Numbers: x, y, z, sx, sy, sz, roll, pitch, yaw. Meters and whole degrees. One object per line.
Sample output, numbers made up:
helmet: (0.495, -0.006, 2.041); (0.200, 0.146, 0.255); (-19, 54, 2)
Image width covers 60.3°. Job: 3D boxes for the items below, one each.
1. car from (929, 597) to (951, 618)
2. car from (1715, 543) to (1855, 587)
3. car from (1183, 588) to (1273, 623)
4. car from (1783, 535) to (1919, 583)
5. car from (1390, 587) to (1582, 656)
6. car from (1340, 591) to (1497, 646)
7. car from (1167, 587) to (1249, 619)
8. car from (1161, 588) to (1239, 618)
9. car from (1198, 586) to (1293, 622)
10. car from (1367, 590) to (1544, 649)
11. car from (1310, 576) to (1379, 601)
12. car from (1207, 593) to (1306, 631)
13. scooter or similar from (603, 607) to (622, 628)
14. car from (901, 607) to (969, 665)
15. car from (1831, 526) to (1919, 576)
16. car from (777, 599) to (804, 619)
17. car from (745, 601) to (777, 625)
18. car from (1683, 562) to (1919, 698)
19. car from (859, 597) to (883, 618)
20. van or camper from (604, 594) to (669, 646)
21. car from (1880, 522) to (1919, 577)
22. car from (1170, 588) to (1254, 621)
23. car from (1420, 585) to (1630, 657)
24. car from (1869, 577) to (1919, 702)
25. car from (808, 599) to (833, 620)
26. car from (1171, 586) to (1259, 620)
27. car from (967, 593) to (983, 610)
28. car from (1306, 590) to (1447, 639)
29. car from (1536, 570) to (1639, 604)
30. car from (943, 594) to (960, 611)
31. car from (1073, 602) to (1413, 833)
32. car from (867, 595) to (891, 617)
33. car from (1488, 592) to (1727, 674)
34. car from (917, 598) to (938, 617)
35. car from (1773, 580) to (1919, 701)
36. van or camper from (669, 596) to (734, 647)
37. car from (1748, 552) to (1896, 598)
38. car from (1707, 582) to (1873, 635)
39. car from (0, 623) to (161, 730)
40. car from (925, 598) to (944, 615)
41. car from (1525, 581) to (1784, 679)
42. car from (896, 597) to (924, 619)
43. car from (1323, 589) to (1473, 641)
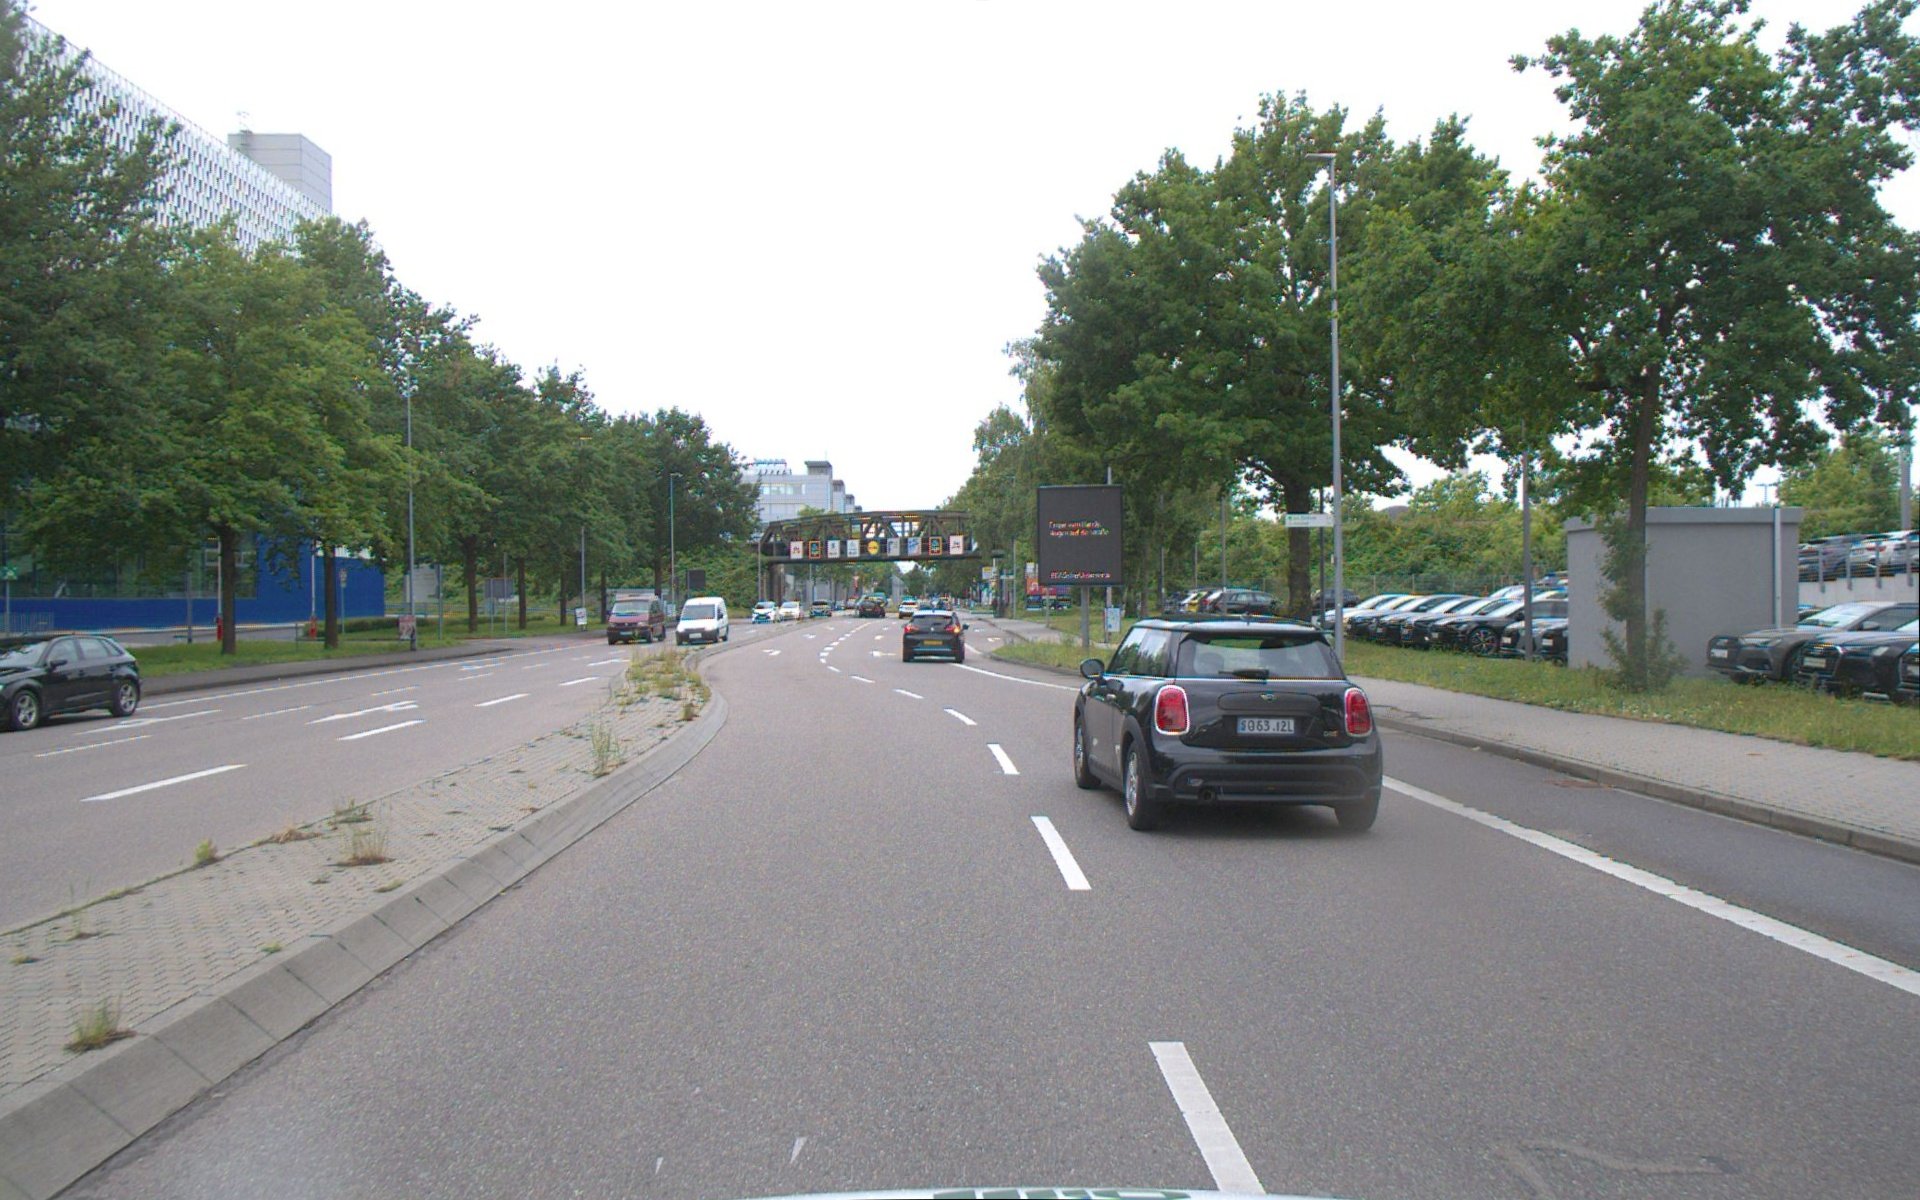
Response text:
car: (-1.806, 0.649, 148.713); (1.845, 1.690, 3.783); (0, 2, 1)
car: (28.569, -1.219, 57.333); (4.003, 1.460, 1.730); (0, 2, -2)
car: (11.988, 0.247, 74.169); (3.902, 1.460, 1.732); (1, 2, 5)
car: (28.475, -1.295, 52.238); (4.003, 1.460, 1.946); (0, 2, -2)
car: (13.495, 0.541, 42.598); (4.256, 1.529, 1.929); (3, 0, -2)
car: (13.148, 0.522, 47.577); (4.003, 1.460, 1.822); (0, 2, -2)
car: (12.222, 0.149, 81.570); (3.902, 1.460, 1.732); (1, 2, 5)
car: (12.434, 0.144, 85.788); (3.902, 1.460, 1.732); (1, 2, 5)
car: (12.248, 0.159, 71.154); (3.902, 1.460, 1.732); (1, 2, 5)
car: (13.426, 0.514, 44.964); (4.255, 1.514, 1.843); (1, 0, -2)
car: (23.625, -0.696, 101.759); (3.902, 1.460, 1.732); (1, 2, 5)
car: (12.292, 0.478, 68.681); (3.902, 1.460, 1.732); (1, 2, 5)
scooter or similar: (-20.556, 1.038, 97.872); (0.747, 1.108, 2.006); (0, 2, -2)
car: (-0.662, 0.980, 46.960); (1.720, 1.459, 4.001); (-1, 1, 2)
car: (28.625, -1.467, 49.696); (4.003, 1.460, 1.730); (0, 2, -2)
car: (-13.304, 0.706, 130.269); (1.684, 1.395, 3.441); (0, 2, 1)
car: (-13.774, 0.887, 114.524); (1.718, 1.471, 3.340); (0, 2, 1)
car: (13.768, 0.511, 25.266); (4.458, 1.731, 2.000); (5, 2, 0)
car: (-7.811, 0.669, 145.255); (1.845, 1.690, 3.783); (0, 2, 1)
van or camper: (-13.621, 0.793, 69.797); (1.837, 2.021, 4.888); (-2, 1, -1)
car: (28.651, -1.425, 47.056); (4.003, 1.522, 1.730); (0, 2, -2)
car: (12.103, 0.199, 79.700); (3.902, 1.460, 1.732); (1, 2, 5)
car: (13.592, 0.481, 39.953); (4.355, 1.599, 1.999); (-1, 0, -2)
car: (13.831, 0.658, 20.255); (4.207, 1.530, 2.029); (5, 0, 0)
car: (-12.700, 0.854, 150.956); (1.900, 1.705, 3.783); (0, 2, 1)
car: (11.775, 0.130, 76.520); (3.902, 1.460, 1.732); (1, 2, 5)
car: (1.808, 0.141, 197.885); (1.910, 1.847, 4.001); (0, 2, 1)
car: (13.136, 0.442, 52.302); (4.003, 1.460, 1.730); (0, 2, -2)
car: (28.321, -0.596, 74.722); (4.003, 1.460, 1.730); (0, 2, -2)
car: (-0.995, 0.332, 193.247); (1.910, 1.847, 4.001); (0, 2, 1)
car: (1.921, 0.774, 12.294); (1.750, 1.440, 3.641); (1, -1, -3)
car: (-7.391, 0.576, 152.097); (1.910, 1.847, 4.001); (0, 2, 1)
car: (13.549, 0.675, 34.799); (4.206, 1.417, 2.000); (4, 0, 0)
car: (-3.346, 0.739, 169.990); (1.910, 1.847, 4.001); (0, 2, 1)
car: (13.724, 0.667, 22.664); (4.091, 1.470, 1.960); (5, 2, 0)
van or camper: (-10.089, 0.802, 64.805); (1.719, 1.777, 4.407); (-4, 1, 1)
car: (28.361, -0.835, 54.496); (4.003, 1.460, 1.730); (0, 2, -2)
car: (24.203, 0.229, 48.297); (4.003, 1.460, 1.730); (0, 2, -2)
car: (-14.915, 1.204, 26.420); (1.877, 1.528, 4.254); (-3, -1, 5)
car: (-2.759, 0.668, 180.564); (1.845, 1.690, 3.783); (0, 2, 1)
car: (13.517, 0.575, 32.374); (4.173, 1.592, 2.000); (4, 0, 0)
car: (-4.220, 0.684, 140.258); (2.091, 1.690, 3.783); (0, 2, 1)
car: (13.197, 0.433, 49.985); (4.003, 1.460, 1.846); (0, 2, -2)
